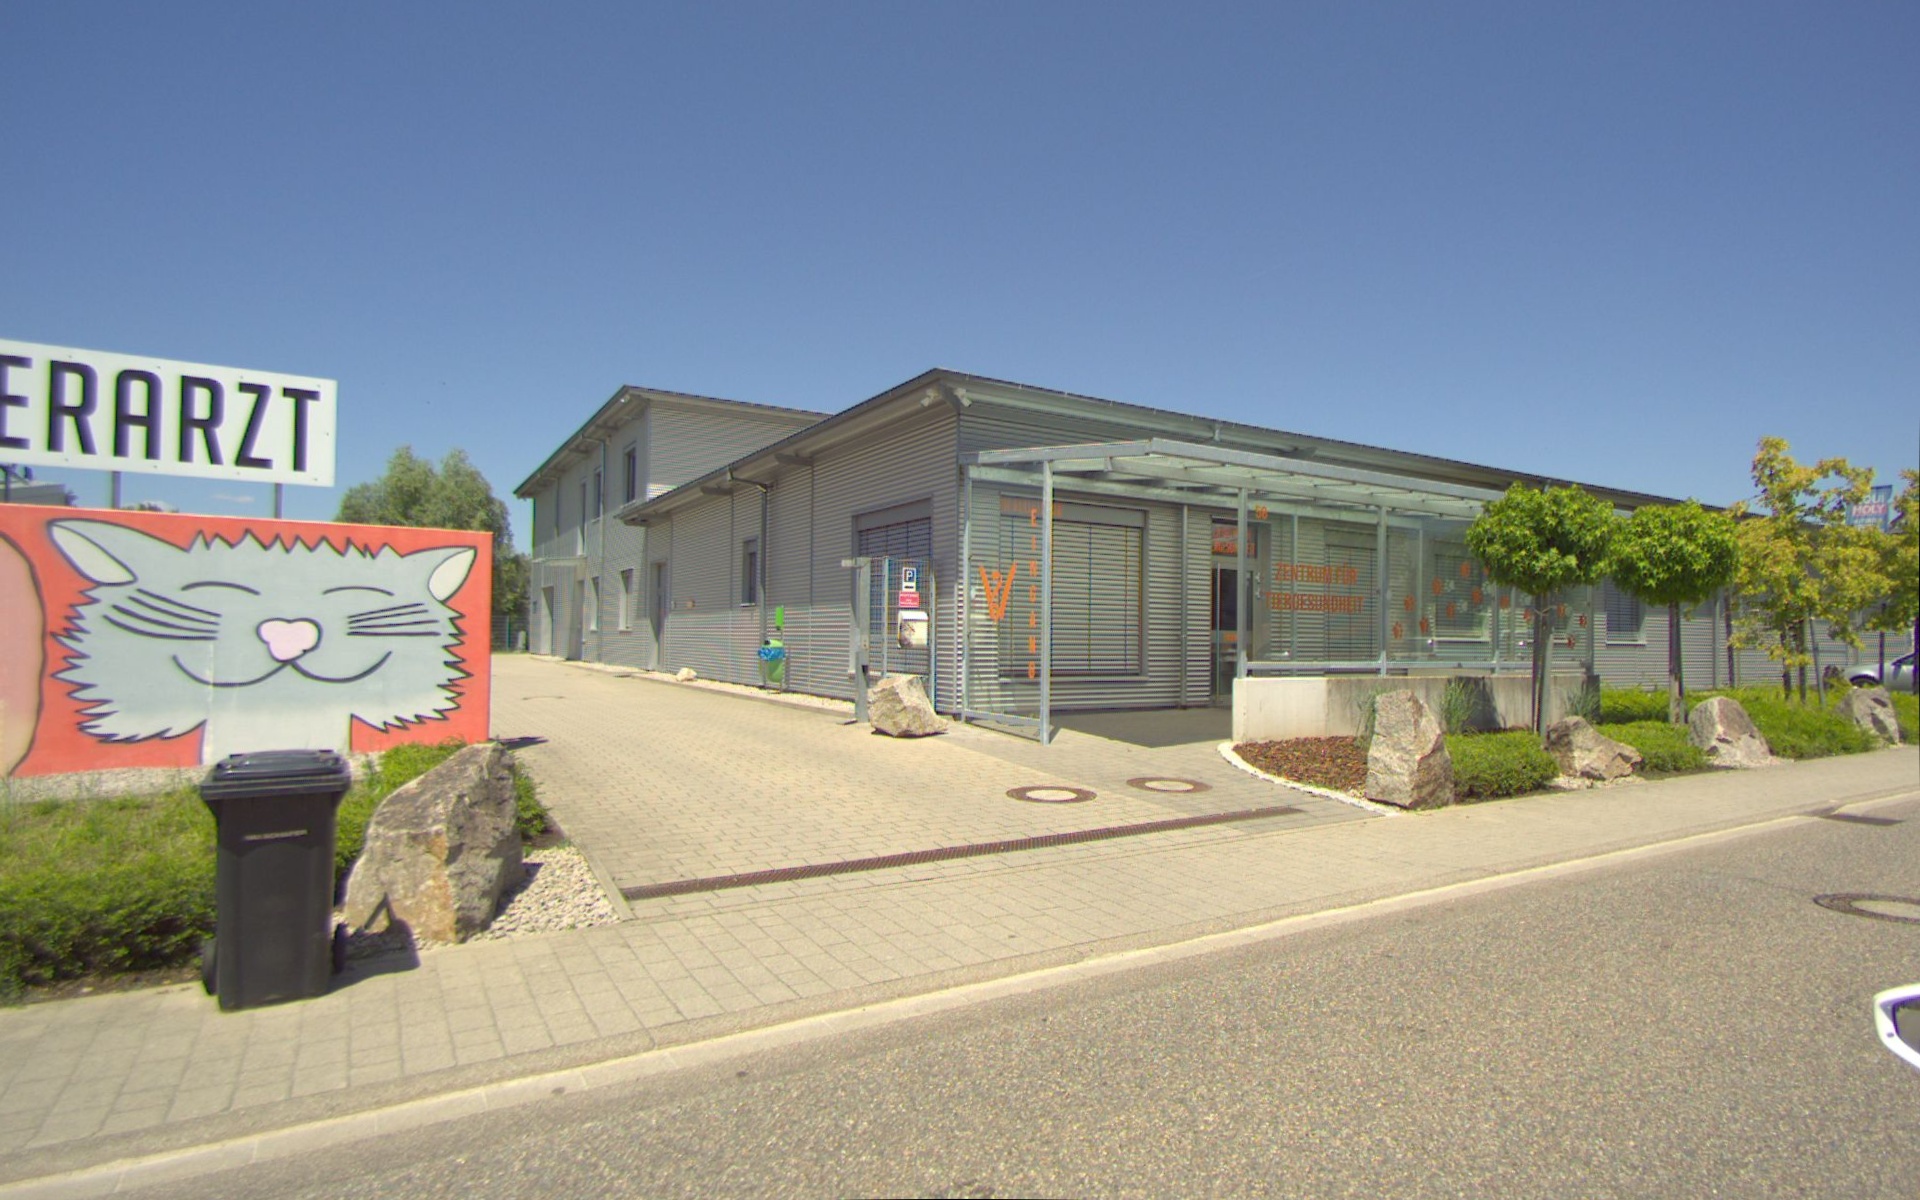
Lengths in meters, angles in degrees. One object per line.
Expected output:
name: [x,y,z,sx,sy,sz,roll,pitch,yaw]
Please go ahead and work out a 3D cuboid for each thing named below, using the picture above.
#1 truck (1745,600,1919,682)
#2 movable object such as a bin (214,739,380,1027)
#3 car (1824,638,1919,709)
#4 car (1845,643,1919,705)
truck: [42.794,1.915,48.981,2.536,3.604,8.063,1,-1,-2]
movable object such as a bin: [-2.673,1.083,4.047,0.507,0.962,0.566,2,-1,-36]
car: [21.940,1.634,21.986,1.845,1.538,4.240,2,-2,-31]
car: [23.692,1.760,23.385,1.824,1.450,4.290,2,-2,-29]
